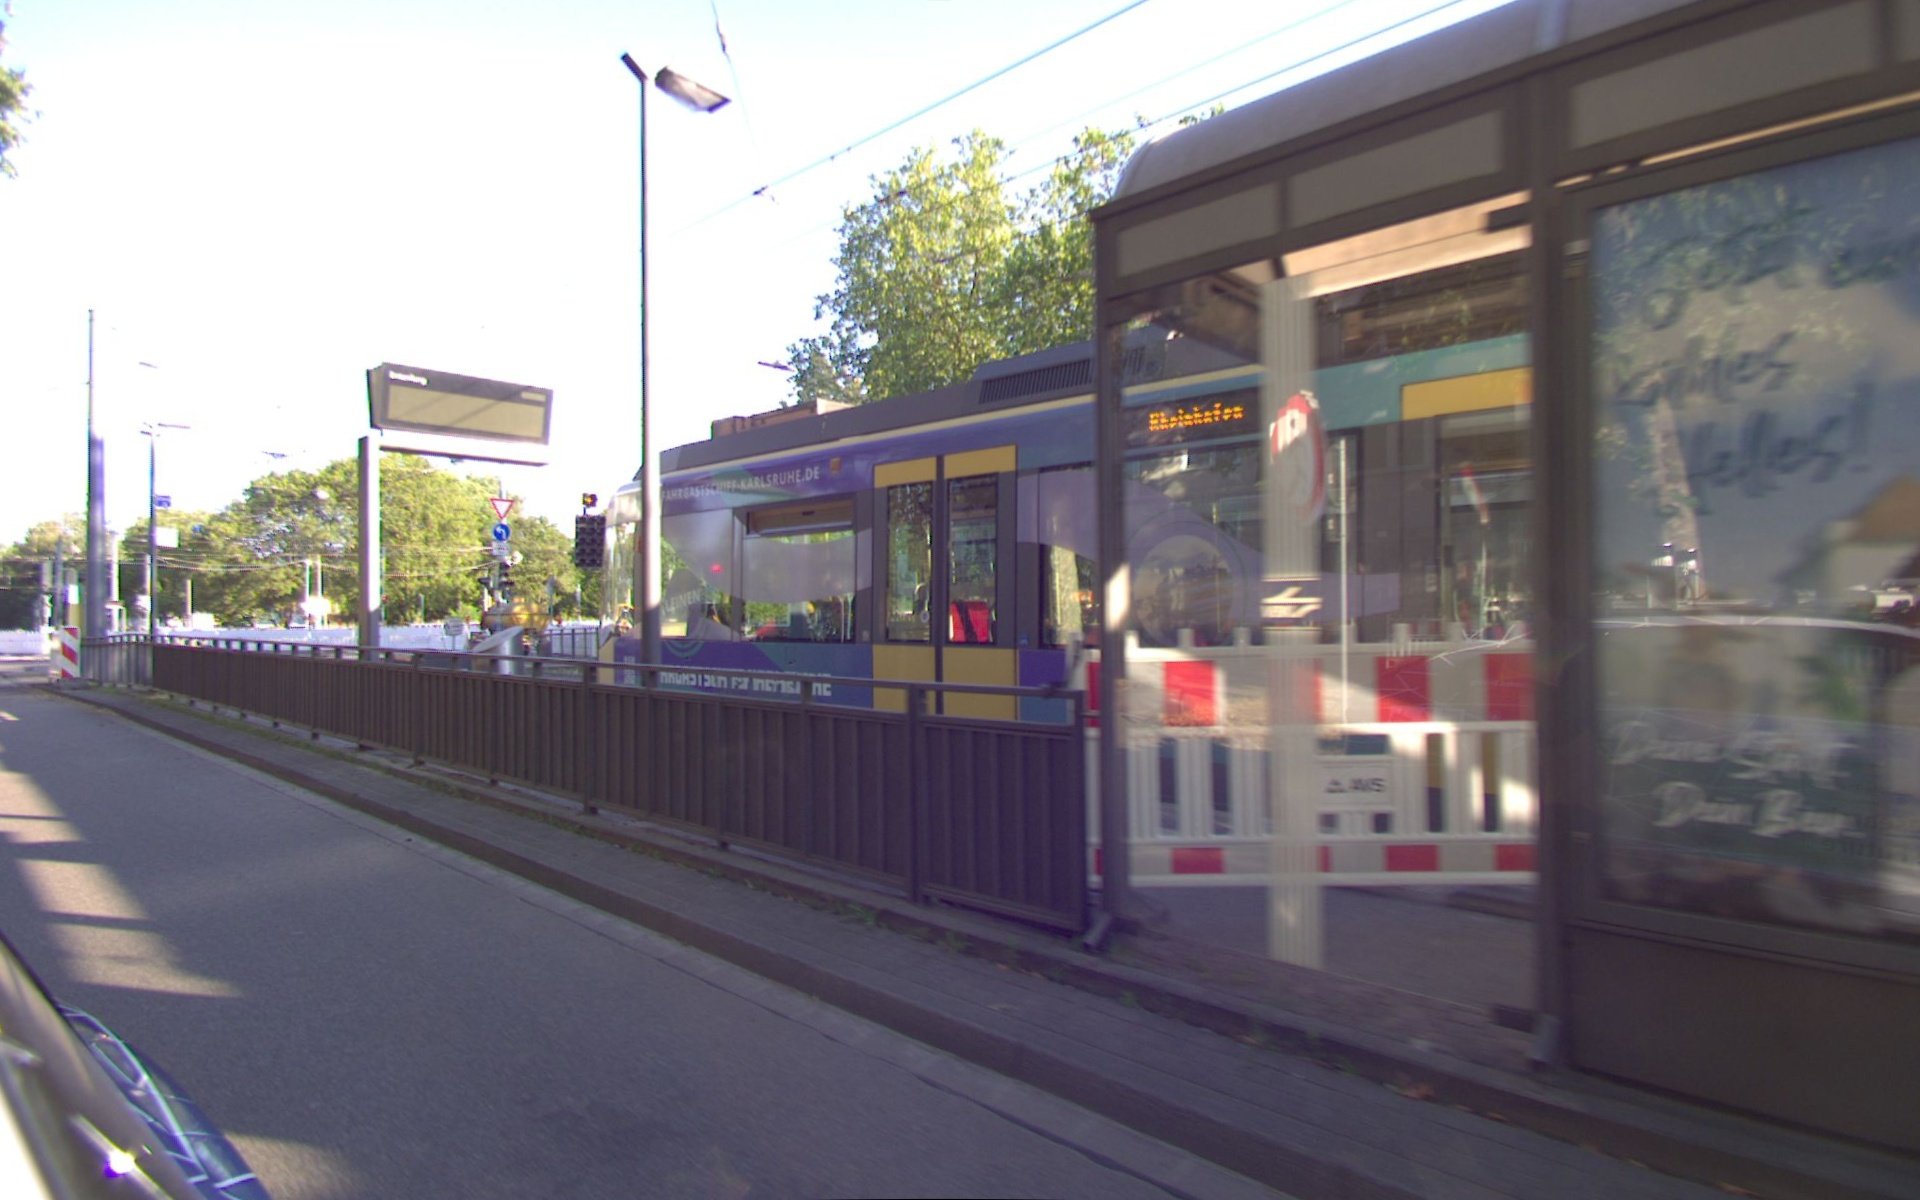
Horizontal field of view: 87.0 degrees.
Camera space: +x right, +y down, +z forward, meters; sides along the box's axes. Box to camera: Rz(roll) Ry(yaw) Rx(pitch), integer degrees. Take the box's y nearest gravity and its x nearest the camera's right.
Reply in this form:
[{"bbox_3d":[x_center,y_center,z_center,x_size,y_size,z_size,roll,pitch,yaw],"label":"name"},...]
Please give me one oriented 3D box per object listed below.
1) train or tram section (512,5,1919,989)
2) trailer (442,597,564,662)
[{"bbox_3d":[0.525,-0.286,8.383,13.397,3.560,2.818,-1,-1,43],"label":"train or tram section"},{"bbox_3d":[-15.923,1.018,35.189,4.337,2.131,1.976,-2,-2,36],"label":"trailer"}]
